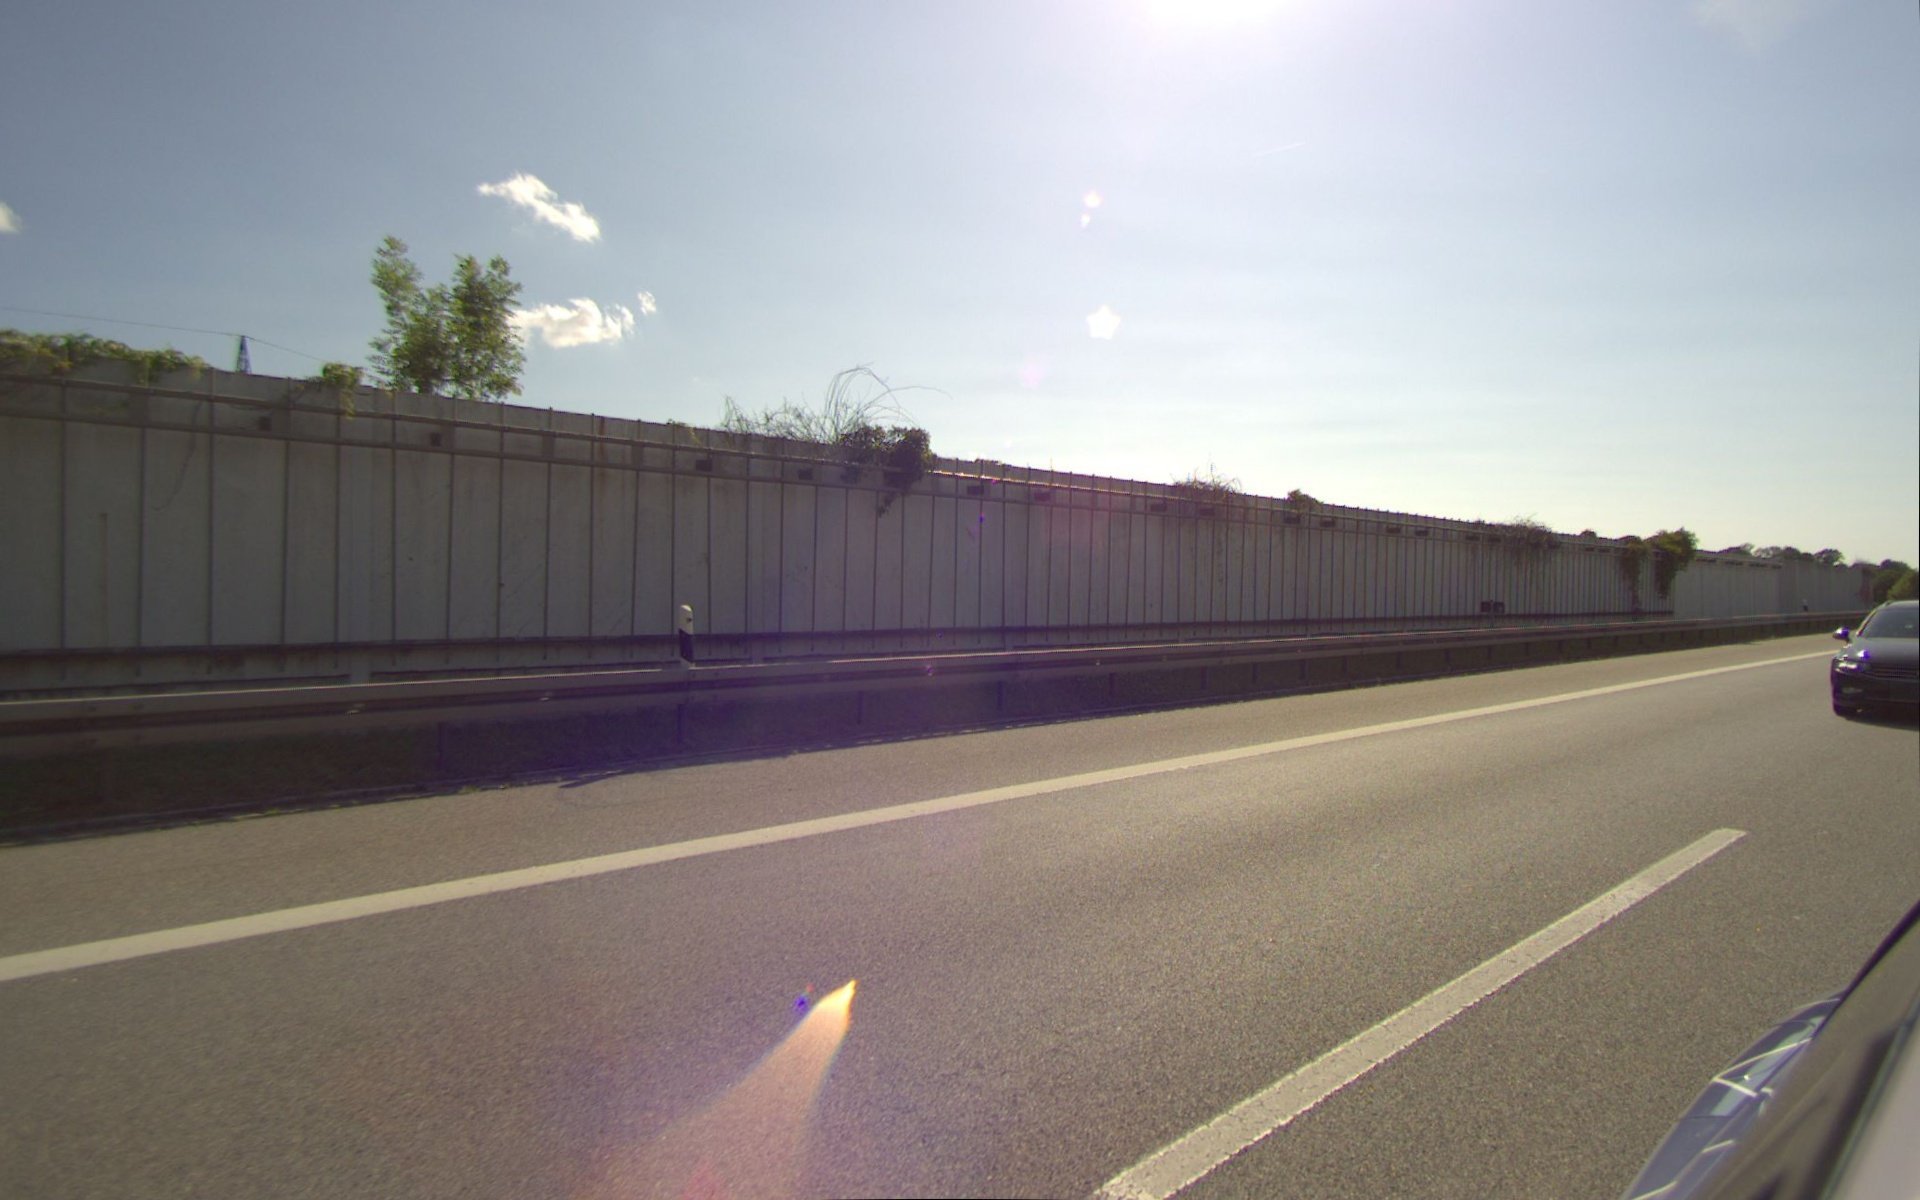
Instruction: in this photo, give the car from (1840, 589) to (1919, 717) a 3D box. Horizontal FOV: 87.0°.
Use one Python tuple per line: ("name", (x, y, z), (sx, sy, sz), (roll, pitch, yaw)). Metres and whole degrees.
("car", (12.905, 0.592, 13.028), (4.336, 1.417, 1.722), (-2, 1, -40))
